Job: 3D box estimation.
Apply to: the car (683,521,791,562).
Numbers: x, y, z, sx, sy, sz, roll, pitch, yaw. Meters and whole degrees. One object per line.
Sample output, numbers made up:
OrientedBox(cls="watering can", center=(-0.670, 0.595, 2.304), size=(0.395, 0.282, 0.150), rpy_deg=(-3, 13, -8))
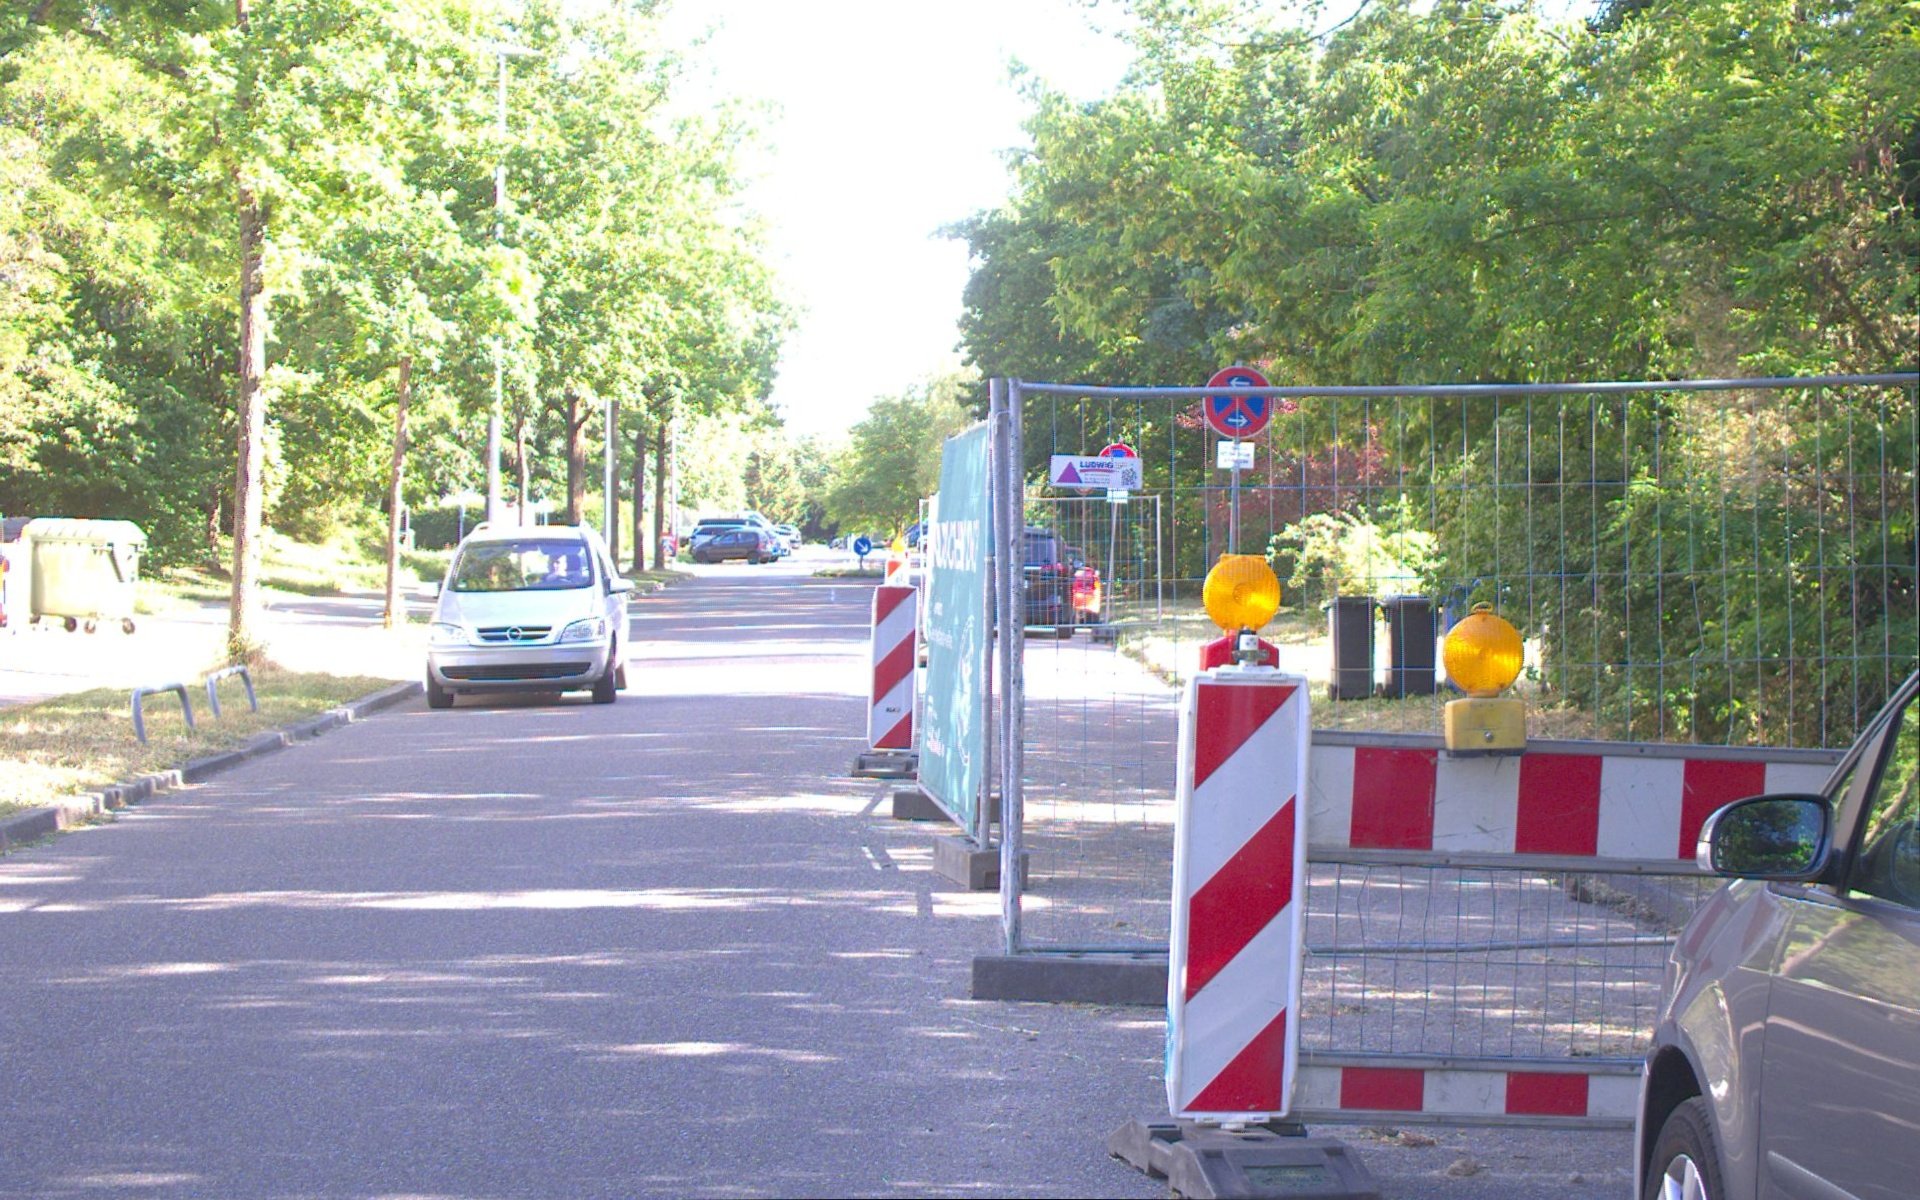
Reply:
OrientedBox(cls="car", center=(-9.649, -2.544, 148.779), size=(4.319, 1.571, 2.046), rpy_deg=(2, 1, 6))

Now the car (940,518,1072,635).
OrientedBox(cls="car", center=(0.746, -0.387, 52.720), size=(1.810, 1.645, 4.420), rpy_deg=(2, 1, 3))

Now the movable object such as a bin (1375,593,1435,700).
OrientedBox(cls="movable object such as a bin", center=(3.714, 0.385, 28.708), size=(0.413, 0.867, 0.484), rpy_deg=(-1, 1, -1))

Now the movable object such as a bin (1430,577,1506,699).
OrientedBox(cls="movable object such as a bin", center=(4.232, 0.312, 28.654), size=(0.519, 0.996, 0.608), rpy_deg=(-1, 1, -1))

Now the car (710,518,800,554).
OrientedBox(cls="car", center=(-9.837, -3.069, 165.078), size=(4.107, 1.571, 1.958), rpy_deg=(2, 1, 1))

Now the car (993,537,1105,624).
OrientedBox(cls="car", center=(1.498, -0.362, 59.278), size=(1.661, 1.371, 4.155), rpy_deg=(2, 1, -2))

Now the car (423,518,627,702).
OrientedBox(cls="car", center=(-3.999, 0.045, 32.121), size=(1.659, 1.590, 4.009), rpy_deg=(1, 1, -4))

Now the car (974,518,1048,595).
OrientedBox(cls="car", center=(1.228, -1.069, 83.839), size=(1.623, 1.767, 3.669), rpy_deg=(2, 1, -1))

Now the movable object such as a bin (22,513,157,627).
OrientedBox(cls="movable object such as a bin", center=(-11.133, -0.390, 44.004), size=(1.270, 1.430, 1.181), rpy_deg=(1, 1, 15))

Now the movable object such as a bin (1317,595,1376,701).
OrientedBox(cls="movable object such as a bin", center=(3.223, 0.395, 28.684), size=(0.413, 0.867, 0.484), rpy_deg=(-1, 1, -1))

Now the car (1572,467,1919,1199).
OrientedBox(cls="car", center=(2.016, 0.672, 4.056), size=(1.678, 1.616, 4.138), rpy_deg=(2, 1, -2))

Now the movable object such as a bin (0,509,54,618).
OrientedBox(cls="movable object such as a bin", center=(-12.804, -0.493, 45.621), size=(1.141, 1.430, 1.273), rpy_deg=(0, 1, -35))

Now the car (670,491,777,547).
OrientedBox(cls="car", center=(-11.981, -4.113, 173.977), size=(5.199, 2.612, 2.294), rpy_deg=(2, 1, -6))
